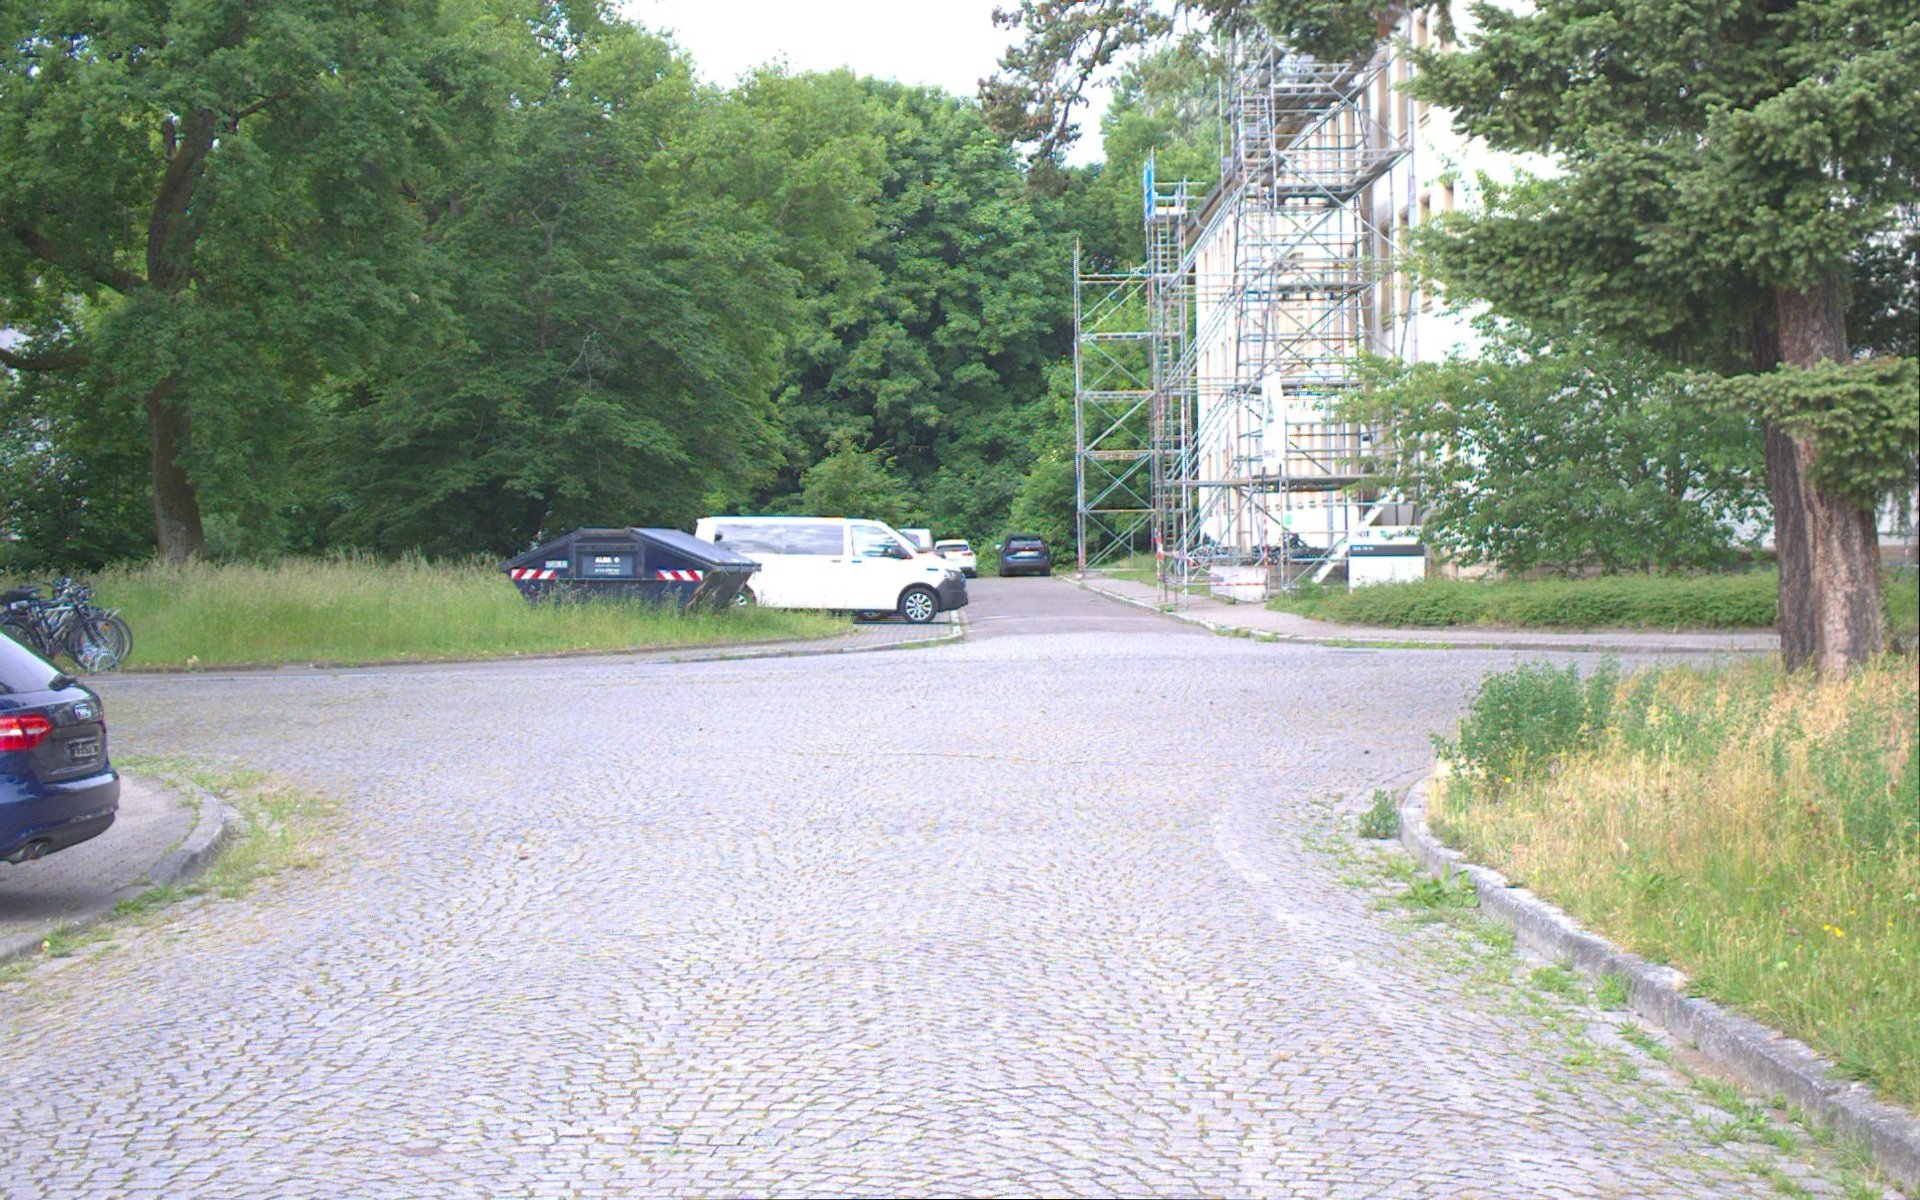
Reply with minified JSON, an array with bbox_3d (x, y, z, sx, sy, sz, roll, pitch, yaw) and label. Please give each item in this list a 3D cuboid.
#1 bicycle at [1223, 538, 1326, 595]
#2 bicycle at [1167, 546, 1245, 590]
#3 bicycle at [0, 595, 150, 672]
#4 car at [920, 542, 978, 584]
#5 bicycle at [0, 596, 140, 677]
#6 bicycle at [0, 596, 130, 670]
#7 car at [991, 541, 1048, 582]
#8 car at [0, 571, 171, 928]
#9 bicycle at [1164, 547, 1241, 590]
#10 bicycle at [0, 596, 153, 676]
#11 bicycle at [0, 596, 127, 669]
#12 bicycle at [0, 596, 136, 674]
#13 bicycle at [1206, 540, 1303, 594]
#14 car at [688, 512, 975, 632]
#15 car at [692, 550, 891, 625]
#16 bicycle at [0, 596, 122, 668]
[{"bbox_3d":[7.045,-0.761,77.069,2.240,1.250,0.777,-1,1,2],"label":"bicycle"},{"bbox_3d":[7.190,-0.933,100.698,2.240,1.250,0.627,-1,1,2],"label":"bicycle"},{"bbox_3d":[-12.098,0.451,46.894,1.957,0.986,0.627,-1,1,-23],"label":"bicycle"},{"bbox_3d":[-0.427,-1.404,130.120,2.118,1.516,4.000,-1,1,-1],"label":"car"},{"bbox_3d":[-11.496,0.462,43.795,1.957,0.986,0.627,-1,1,-20],"label":"bicycle"},{"bbox_3d":[-12.549,0.454,47.622,1.957,0.986,0.627,-1,1,-23],"label":"bicycle"},{"bbox_3d":[2.250,-1.456,130.411,1.951,1.516,4.000,-1,1,-2],"label":"car"},{"bbox_3d":[-5.906,0.603,15.322,4.303,1.456,1.975,0,1,1],"label":"car"},{"bbox_3d":[7.202,-0.944,102.036,2.240,1.250,0.698,-1,1,2],"label":"bicycle"},{"bbox_3d":[-11.474,0.457,44.419,1.957,0.986,0.627,-1,1,-23],"label":"bicycle"},{"bbox_3d":[-12.732,0.453,48.204,1.957,0.986,0.627,-1,1,-23],"label":"bicycle"},{"bbox_3d":[-11.936,0.459,45.392,1.957,0.986,0.627,-1,1,-23],"label":"bicycle"},{"bbox_3d":[6.966,-0.790,81.327,2.240,1.250,0.777,-1,1,2],"label":"bicycle"},{"bbox_3d":[-2.393,-0.530,64.129,5.234,2.160,2.000,-1,1,-2],"label":"car"},{"bbox_3d":[-3.266,-0.249,66.728,3.788,1.390,2.000,-1,1,-3],"label":"car"},{"bbox_3d":[-13.079,0.451,49.331,1.957,0.986,0.627,-1,1,-23],"label":"bicycle"}]
